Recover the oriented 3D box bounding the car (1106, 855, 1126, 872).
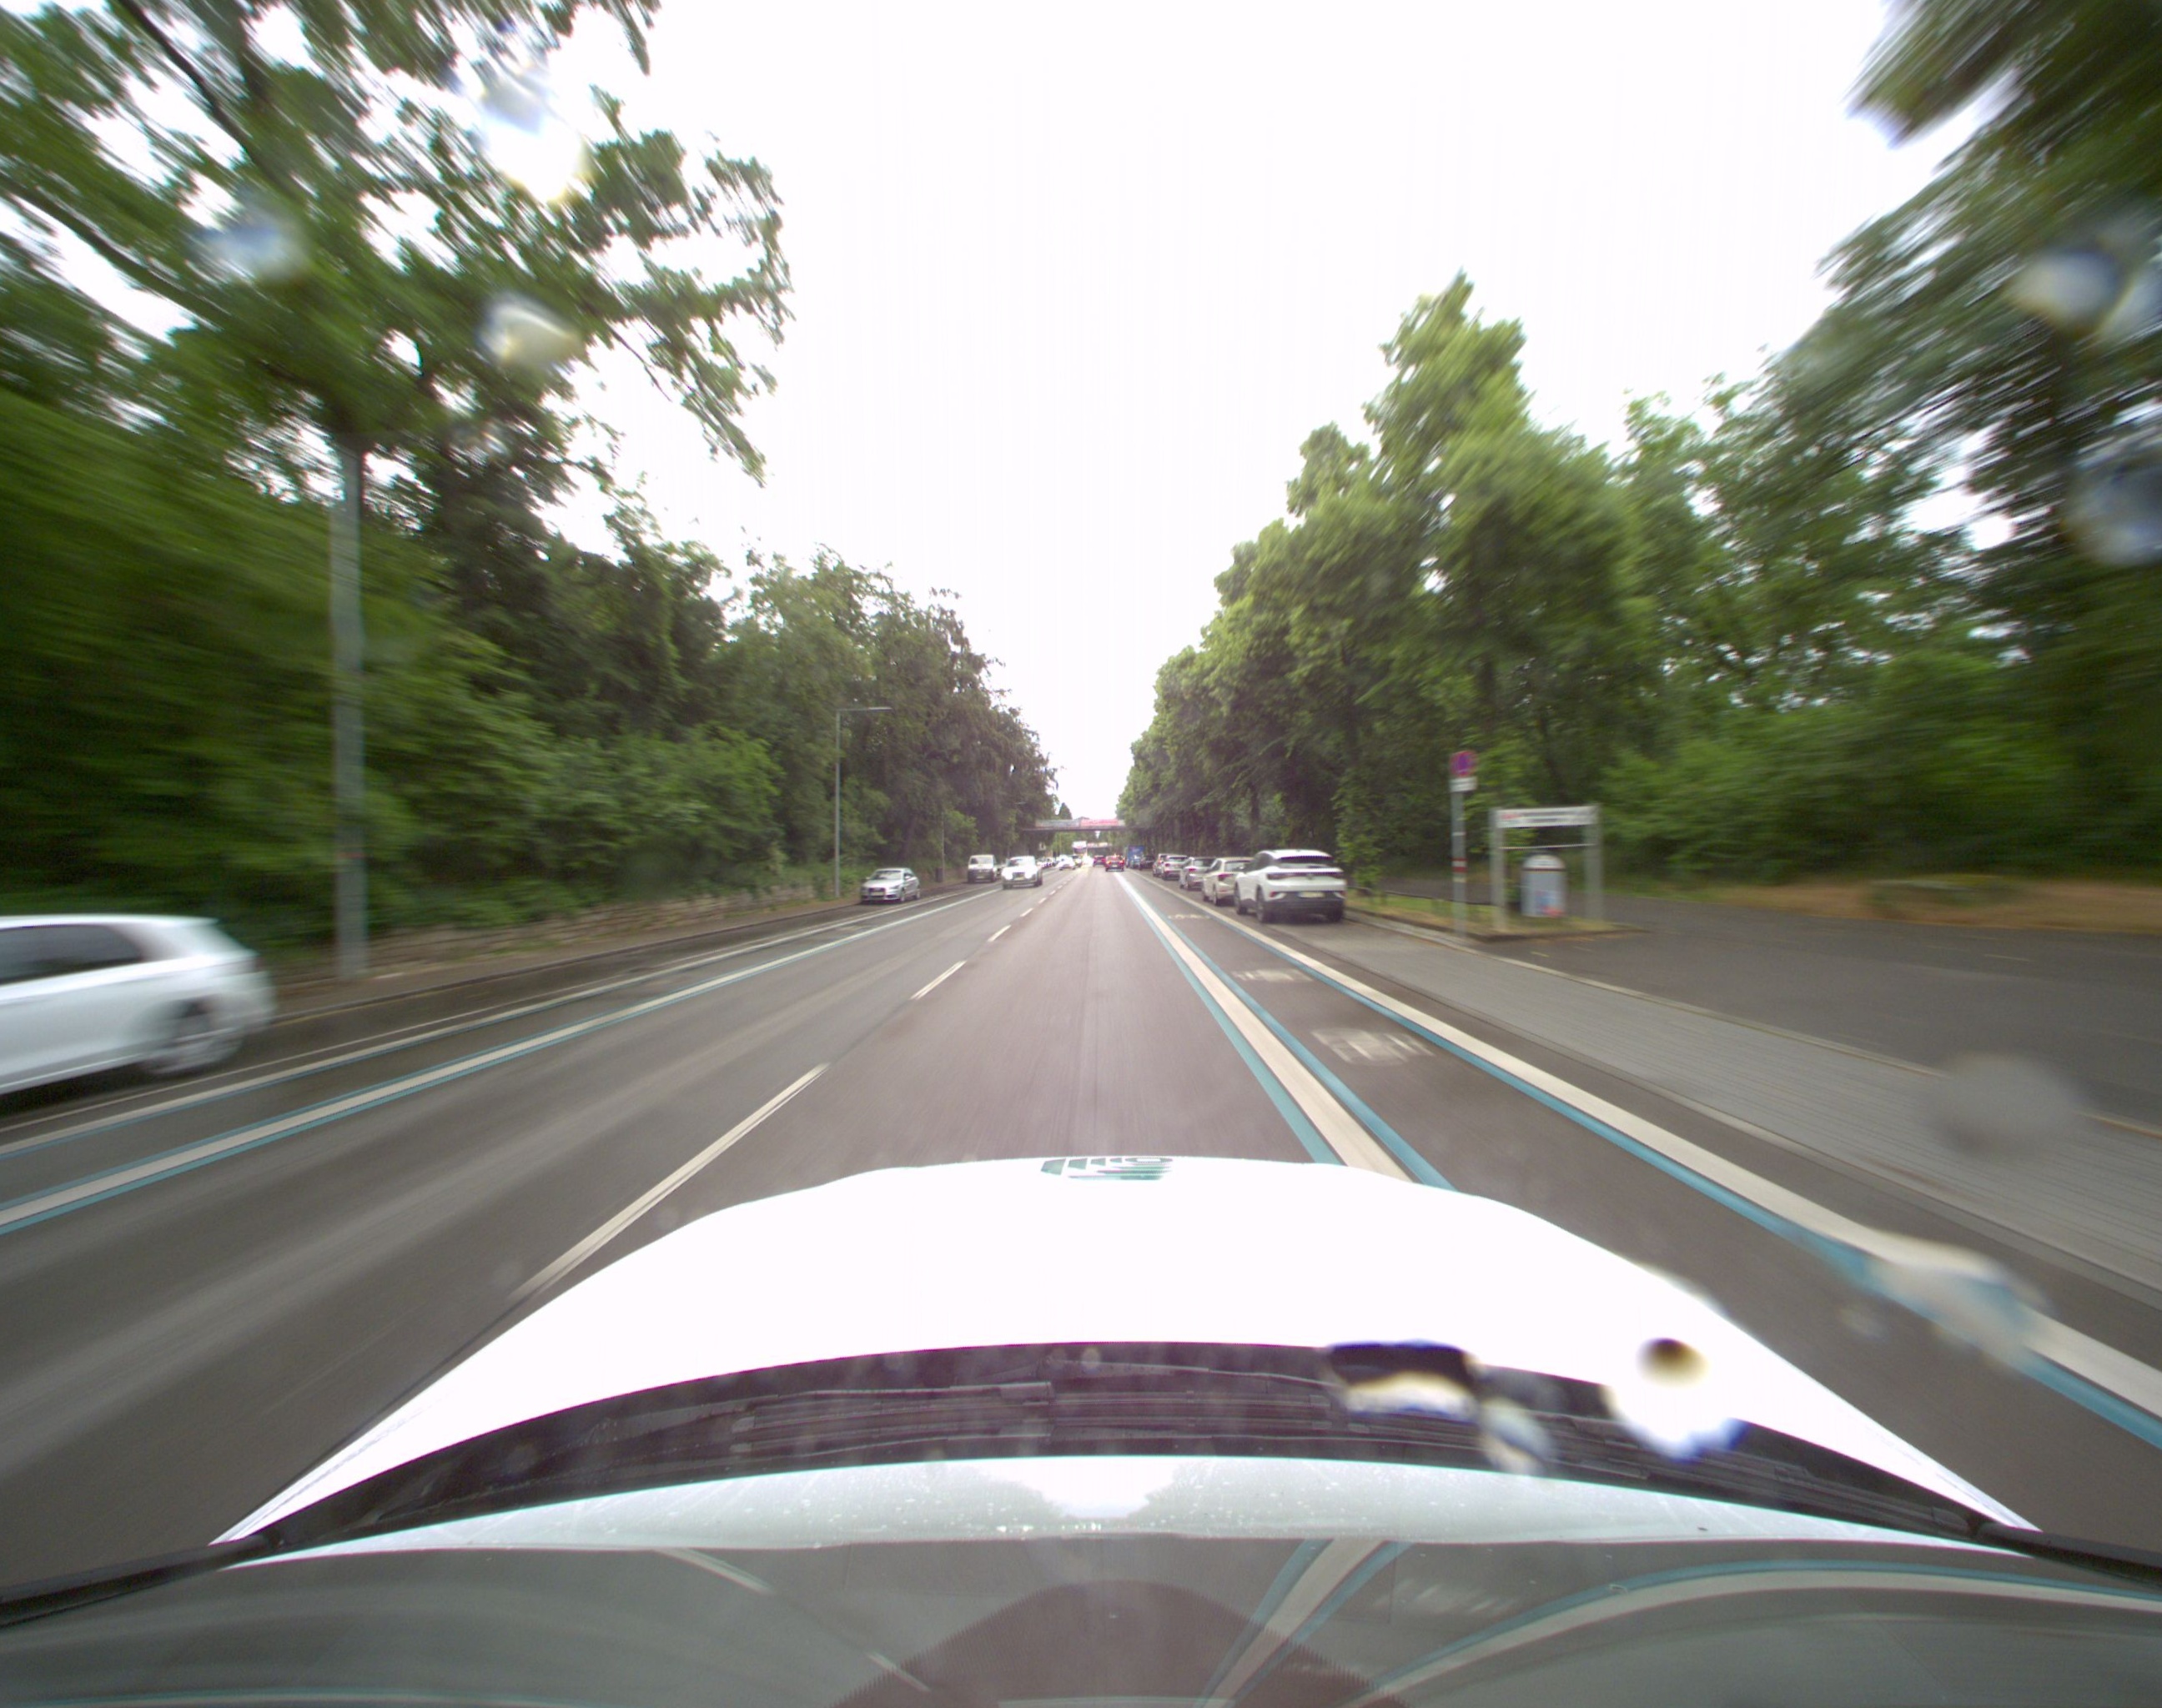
[{"bbox_3d":[3.298,0.860,77.580,1.811,1.508,4.141,-1,0,2],"label":"car"}]

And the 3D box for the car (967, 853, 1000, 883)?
[{"bbox_3d":[-6.947,0.968,58.608,1.969,2.005,5.013,-1,0,-3],"label":"car"}]

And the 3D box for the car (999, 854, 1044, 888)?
[{"bbox_3d":[-3.125,0.865,43.690,1.947,1.639,4.445,-2,0,0],"label":"car"}]

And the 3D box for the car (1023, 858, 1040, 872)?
[{"bbox_3d":[-5.736,1.243,94.886,1.826,1.477,4.038,-2,0,-2],"label":"car"}]

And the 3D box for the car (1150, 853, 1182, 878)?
[{"bbox_3d":[5.789,0.738,55.608,1.747,1.597,4.740,-1,0,1],"label":"car"}]

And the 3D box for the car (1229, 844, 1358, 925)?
[{"bbox_3d":[4.888,0.650,19.406,1.986,1.662,4.564,-1,0,2],"label":"car"}]

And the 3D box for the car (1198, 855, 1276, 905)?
[{"bbox_3d":[4.807,0.753,25.594,1.692,1.453,3.945,0,0,0],"label":"car"}]

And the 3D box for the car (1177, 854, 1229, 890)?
[{"bbox_3d":[5.315,0.747,35.954,1.692,1.453,4.097,0,0,0],"label":"car"}]

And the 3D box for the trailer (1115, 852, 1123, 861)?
[{"bbox_3d":[9.641,0.726,207.423,1.877,2.166,3.809,-2,0,2],"label":"trailer"}]

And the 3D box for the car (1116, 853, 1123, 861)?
[{"bbox_3d":[10.652,0.716,224.231,1.882,2.127,4.047,-2,0,2],"label":"car"}]

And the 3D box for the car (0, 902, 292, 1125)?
[{"bbox_3d":[-8.524,1.224,5.673,1.749,1.435,4.356,-2,0,0],"label":"car"}]

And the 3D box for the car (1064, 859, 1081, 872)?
[{"bbox_3d":[-1.102,1.523,107.804,1.954,1.617,4.467,-2,0,1],"label":"car"}]

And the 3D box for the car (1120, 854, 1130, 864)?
[{"bbox_3d":[7.898,0.885,145.738,1.750,1.590,4.500,0,0,1],"label":"car"}]

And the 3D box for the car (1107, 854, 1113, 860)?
[{"bbox_3d":[7.996,0.917,224.929,1.725,1.583,4.037,-2,0,1],"label":"car"}]

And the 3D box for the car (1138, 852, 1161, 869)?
[{"bbox_3d":[6.572,0.638,78.591,1.819,1.503,4.571,-2,0,1],"label":"car"}]

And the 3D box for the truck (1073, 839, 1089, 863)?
[{"bbox_3d":[0.010,-0.529,147.150,2.509,4.046,4.917,-4,0,1],"label":"truck"}]

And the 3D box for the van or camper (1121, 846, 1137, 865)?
[{"bbox_3d":[7.311,0.233,124.546,2.035,2.729,6.900,0,0,1],"label":"van or camper"}]

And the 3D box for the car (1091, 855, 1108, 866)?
[{"bbox_3d":[2.434,0.898,109.897,2.134,1.492,4.497,0,0,-1],"label":"car"}]

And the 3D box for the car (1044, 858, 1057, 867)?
[{"bbox_3d":[-5.032,1.394,135.022,1.951,1.463,4.753,-1,0,-2],"label":"car"}]

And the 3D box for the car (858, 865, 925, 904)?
[{"bbox_3d":[-7.821,1.224,33.996,1.683,1.405,4.030,-1,0,2],"label":"car"}]

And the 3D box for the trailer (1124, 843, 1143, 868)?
[{"bbox_3d":[6.056,0.143,93.561,1.945,2.758,4.008,-1,0,1],"label":"trailer"}]

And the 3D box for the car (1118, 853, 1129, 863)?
[{"bbox_3d":[8.536,0.752,164.071,1.919,2.022,4.665,0,0,1],"label":"car"}]

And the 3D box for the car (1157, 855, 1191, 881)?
[{"bbox_3d":[5.609,0.796,49.712,1.691,1.513,4.471,0,0,2],"label":"car"}]

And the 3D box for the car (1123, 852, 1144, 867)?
[{"bbox_3d":[5.586,0.545,87.754,1.894,1.547,4.753,0,0,-1],"label":"car"}]

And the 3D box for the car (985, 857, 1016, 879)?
[{"bbox_3d":[-6.655,1.153,67.746,2.003,1.605,4.779,-2,0,0],"label":"car"}]

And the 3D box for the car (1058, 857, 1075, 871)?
[{"bbox_3d":[-1.658,1.080,92.489,1.770,1.466,4.063,-4,0,0],"label":"car"}]
